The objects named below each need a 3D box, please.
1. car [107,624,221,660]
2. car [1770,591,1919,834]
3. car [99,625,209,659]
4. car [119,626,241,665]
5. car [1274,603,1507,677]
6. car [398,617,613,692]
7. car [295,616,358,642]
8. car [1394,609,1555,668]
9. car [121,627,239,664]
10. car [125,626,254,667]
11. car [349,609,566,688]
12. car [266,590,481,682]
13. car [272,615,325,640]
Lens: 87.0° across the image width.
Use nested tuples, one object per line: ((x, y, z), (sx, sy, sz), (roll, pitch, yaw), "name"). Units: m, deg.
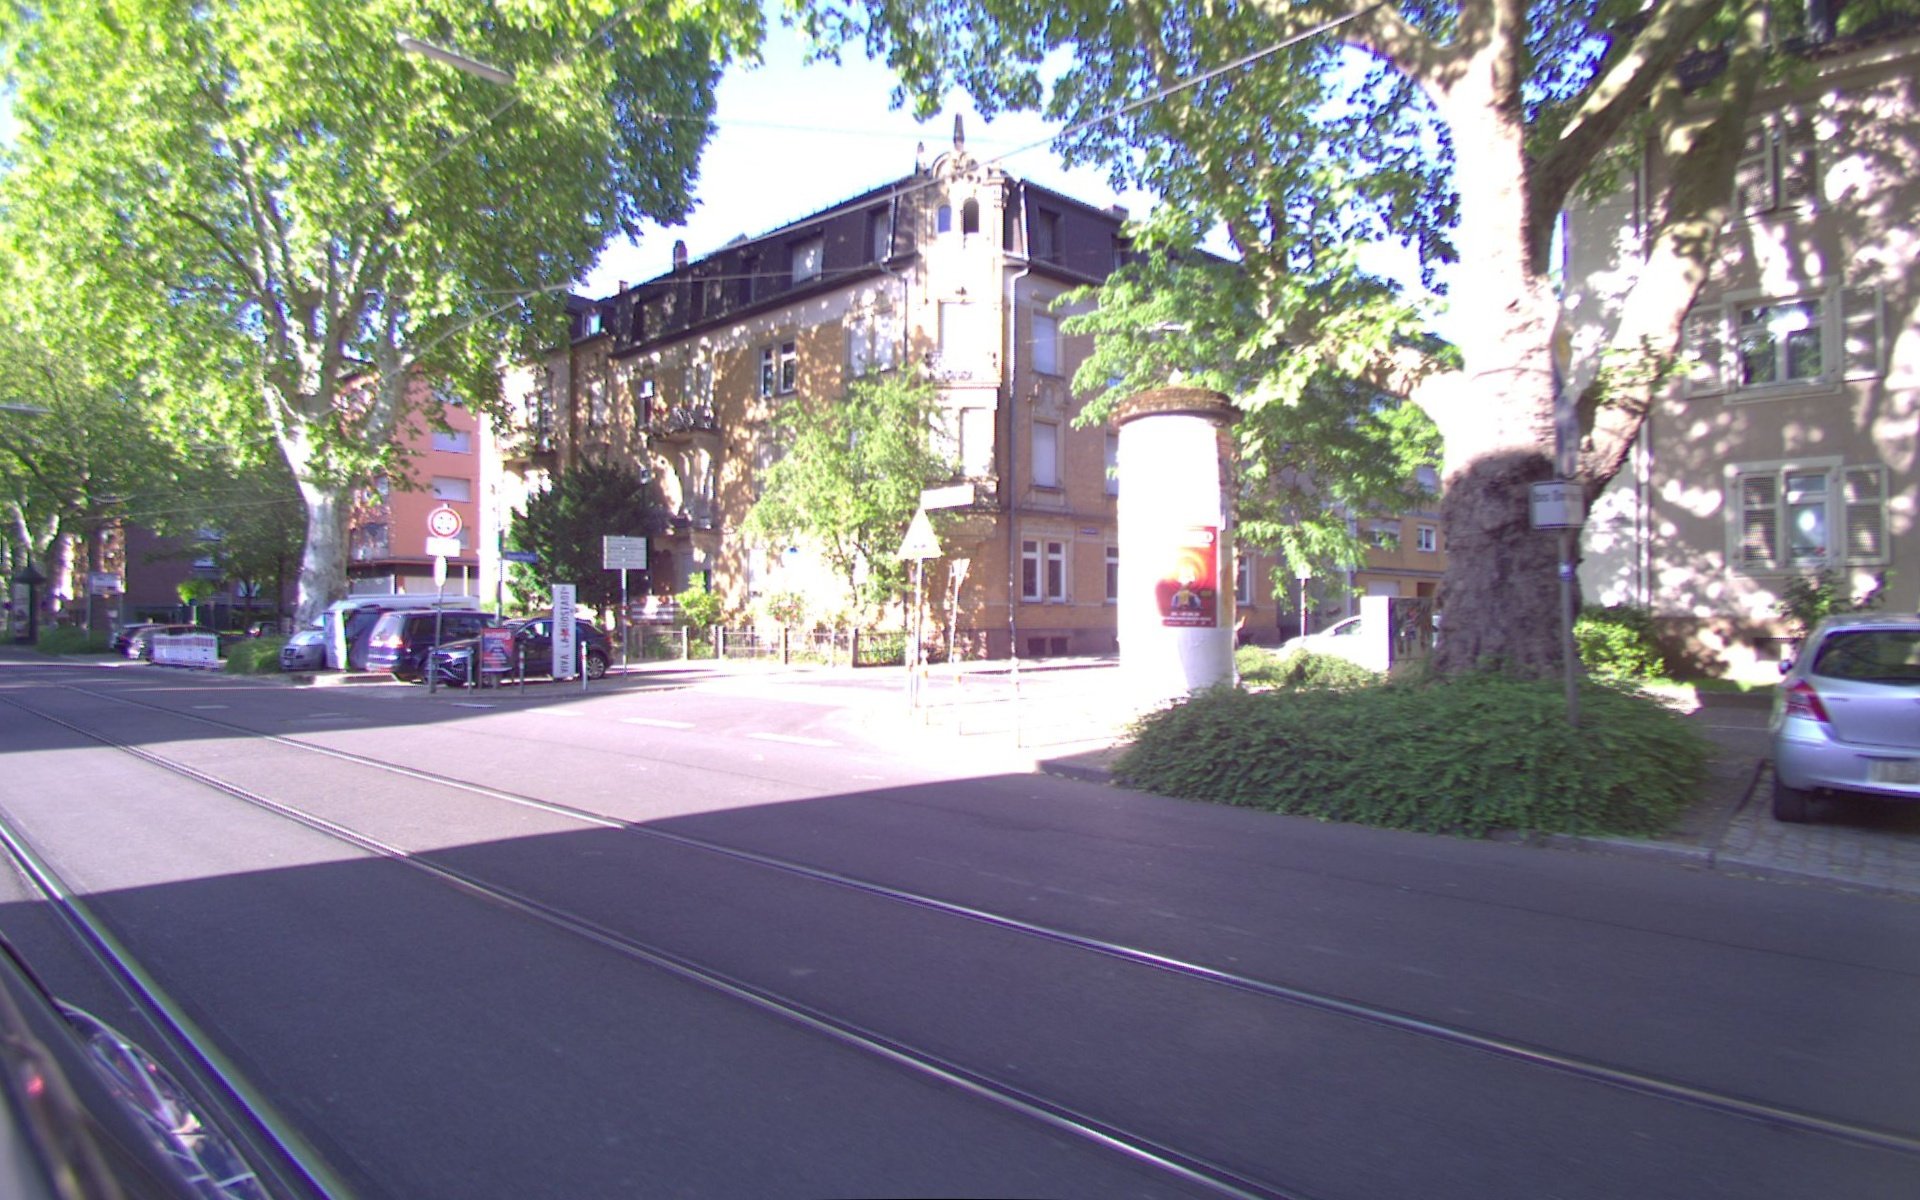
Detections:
((-37.158, 1.925, 47.310), (1.809, 1.527, 3.917), (-2, -1, 39), "car")
((7.549, 0.721, 7.676), (3.638, 1.565, 1.705), (0, -1, -44), "car")
((-39.190, 2.013, 49.292), (1.809, 1.527, 3.917), (-2, -1, 39), "car")
((-33.779, 1.932, 43.912), (1.809, 1.527, 3.917), (-2, -1, 39), "car")
((9.670, 0.861, 23.063), (1.681, 1.507, 4.616), (0, -1, -41), "car")
((-10.411, 1.194, 23.399), (1.924, 1.527, 4.118), (-2, -1, 39), "car")
((-36.899, 1.686, 58.908), (4.606, 1.458, 1.650), (-1, -3, 39), "car")
((13.064, 0.947, 25.816), (1.460, 1.402, 3.352), (0, -1, -41), "car")
((-35.087, 2.022, 45.607), (1.809, 1.527, 3.917), (-2, -1, 39), "car")
((-31.640, 1.867, 41.637), (1.809, 1.527, 3.917), (-2, -1, 39), "car")
((-12.381, 1.135, 25.179), (2.026, 1.779, 4.408), (-2, -1, 39), "car")
((-16.737, 0.968, 29.111), (2.026, 2.416, 4.956), (-2, -1, 39), "car")
((-40.415, 1.706, 61.830), (3.648, 1.458, 1.650), (-1, -3, 39), "car")
